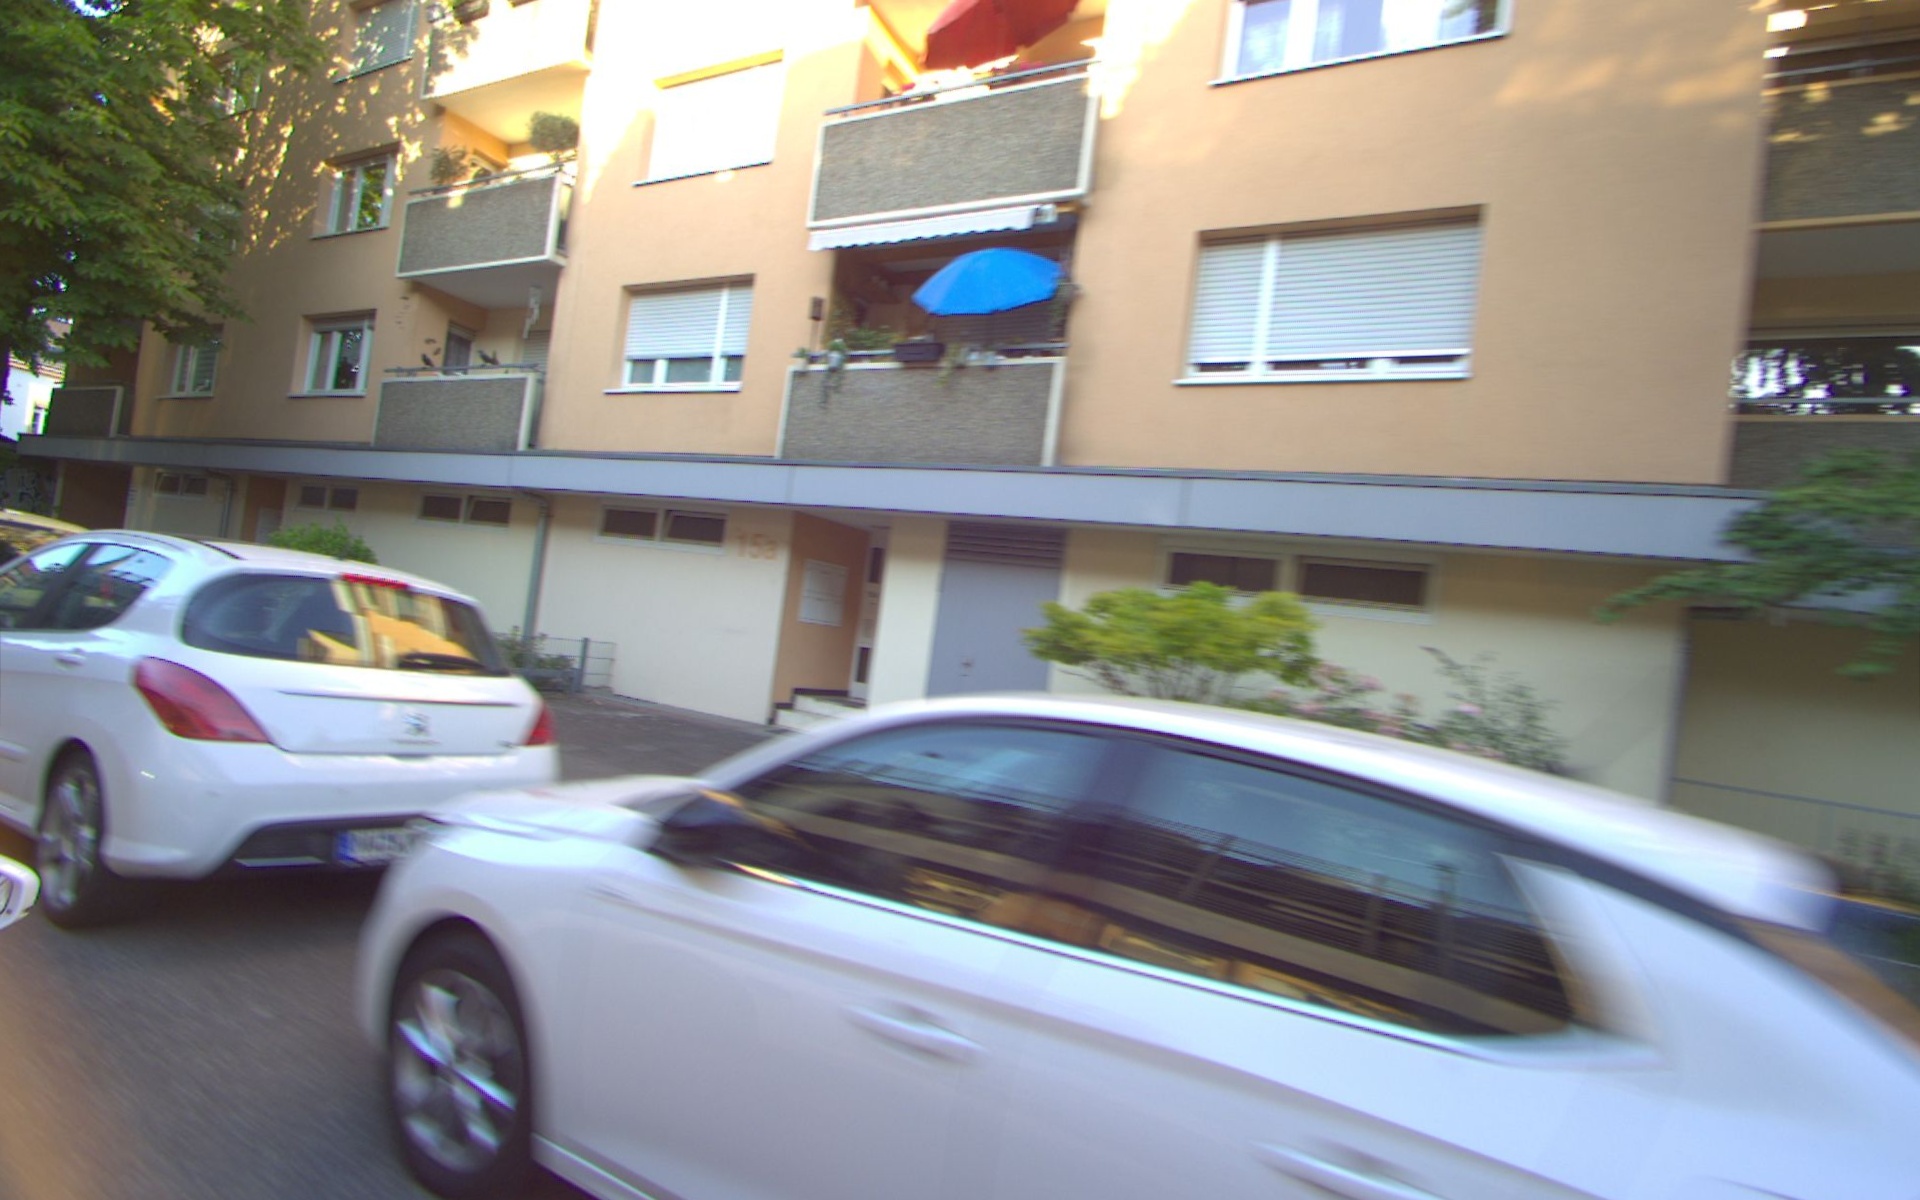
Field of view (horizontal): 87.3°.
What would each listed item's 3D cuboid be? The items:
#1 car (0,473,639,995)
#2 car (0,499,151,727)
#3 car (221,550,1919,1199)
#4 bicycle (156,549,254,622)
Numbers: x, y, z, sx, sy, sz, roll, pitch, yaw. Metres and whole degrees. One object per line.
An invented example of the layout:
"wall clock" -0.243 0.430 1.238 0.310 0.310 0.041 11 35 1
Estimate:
"car" -3.812 0.330 4.988 4.123 1.580 1.796 7 -2 31
"car" -7.941 -0.085 7.612 3.419 1.528 1.613 7 -2 31
"car" 0.072 0.879 2.577 3.986 1.478 1.613 7 -2 31
"bicycle" -12.243 -0.244 16.301 1.804 0.932 0.524 8 -1 30
